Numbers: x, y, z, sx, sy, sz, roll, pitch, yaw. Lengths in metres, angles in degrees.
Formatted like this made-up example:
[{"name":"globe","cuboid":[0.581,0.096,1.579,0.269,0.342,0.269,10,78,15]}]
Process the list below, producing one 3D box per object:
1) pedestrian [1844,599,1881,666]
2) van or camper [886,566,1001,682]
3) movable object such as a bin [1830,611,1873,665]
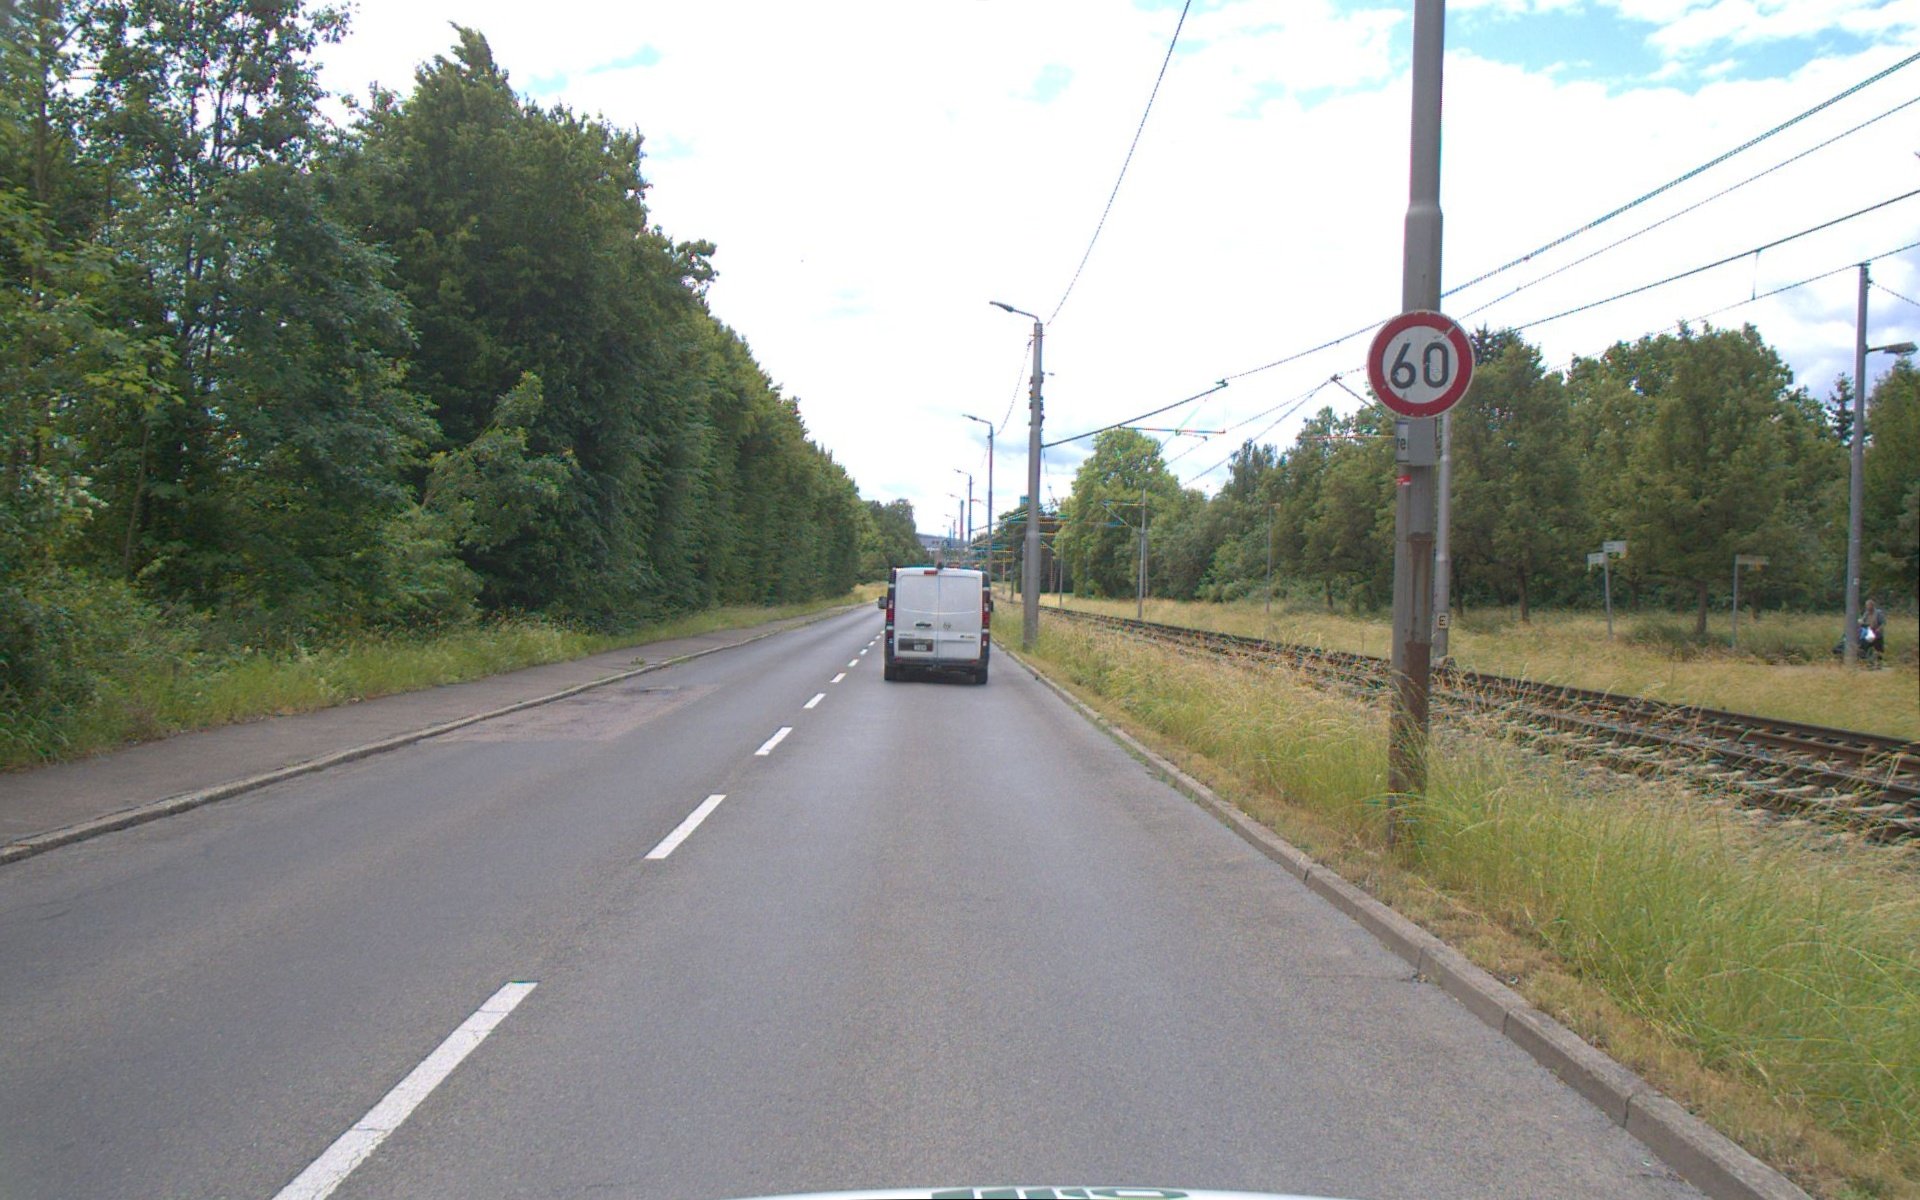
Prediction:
[{"name":"pedestrian","cuboid":[23.256,0.837,42.616,0.646,1.696,0.953,0,0,39]},{"name":"van or camper","cuboid":[-0.326,0.405,30.011,1.903,1.930,4.283,1,0,-1]},{"name":"movable object such as a bin","cuboid":[22.415,0.943,41.557,0.648,1.333,1.634,0,0,39]}]
